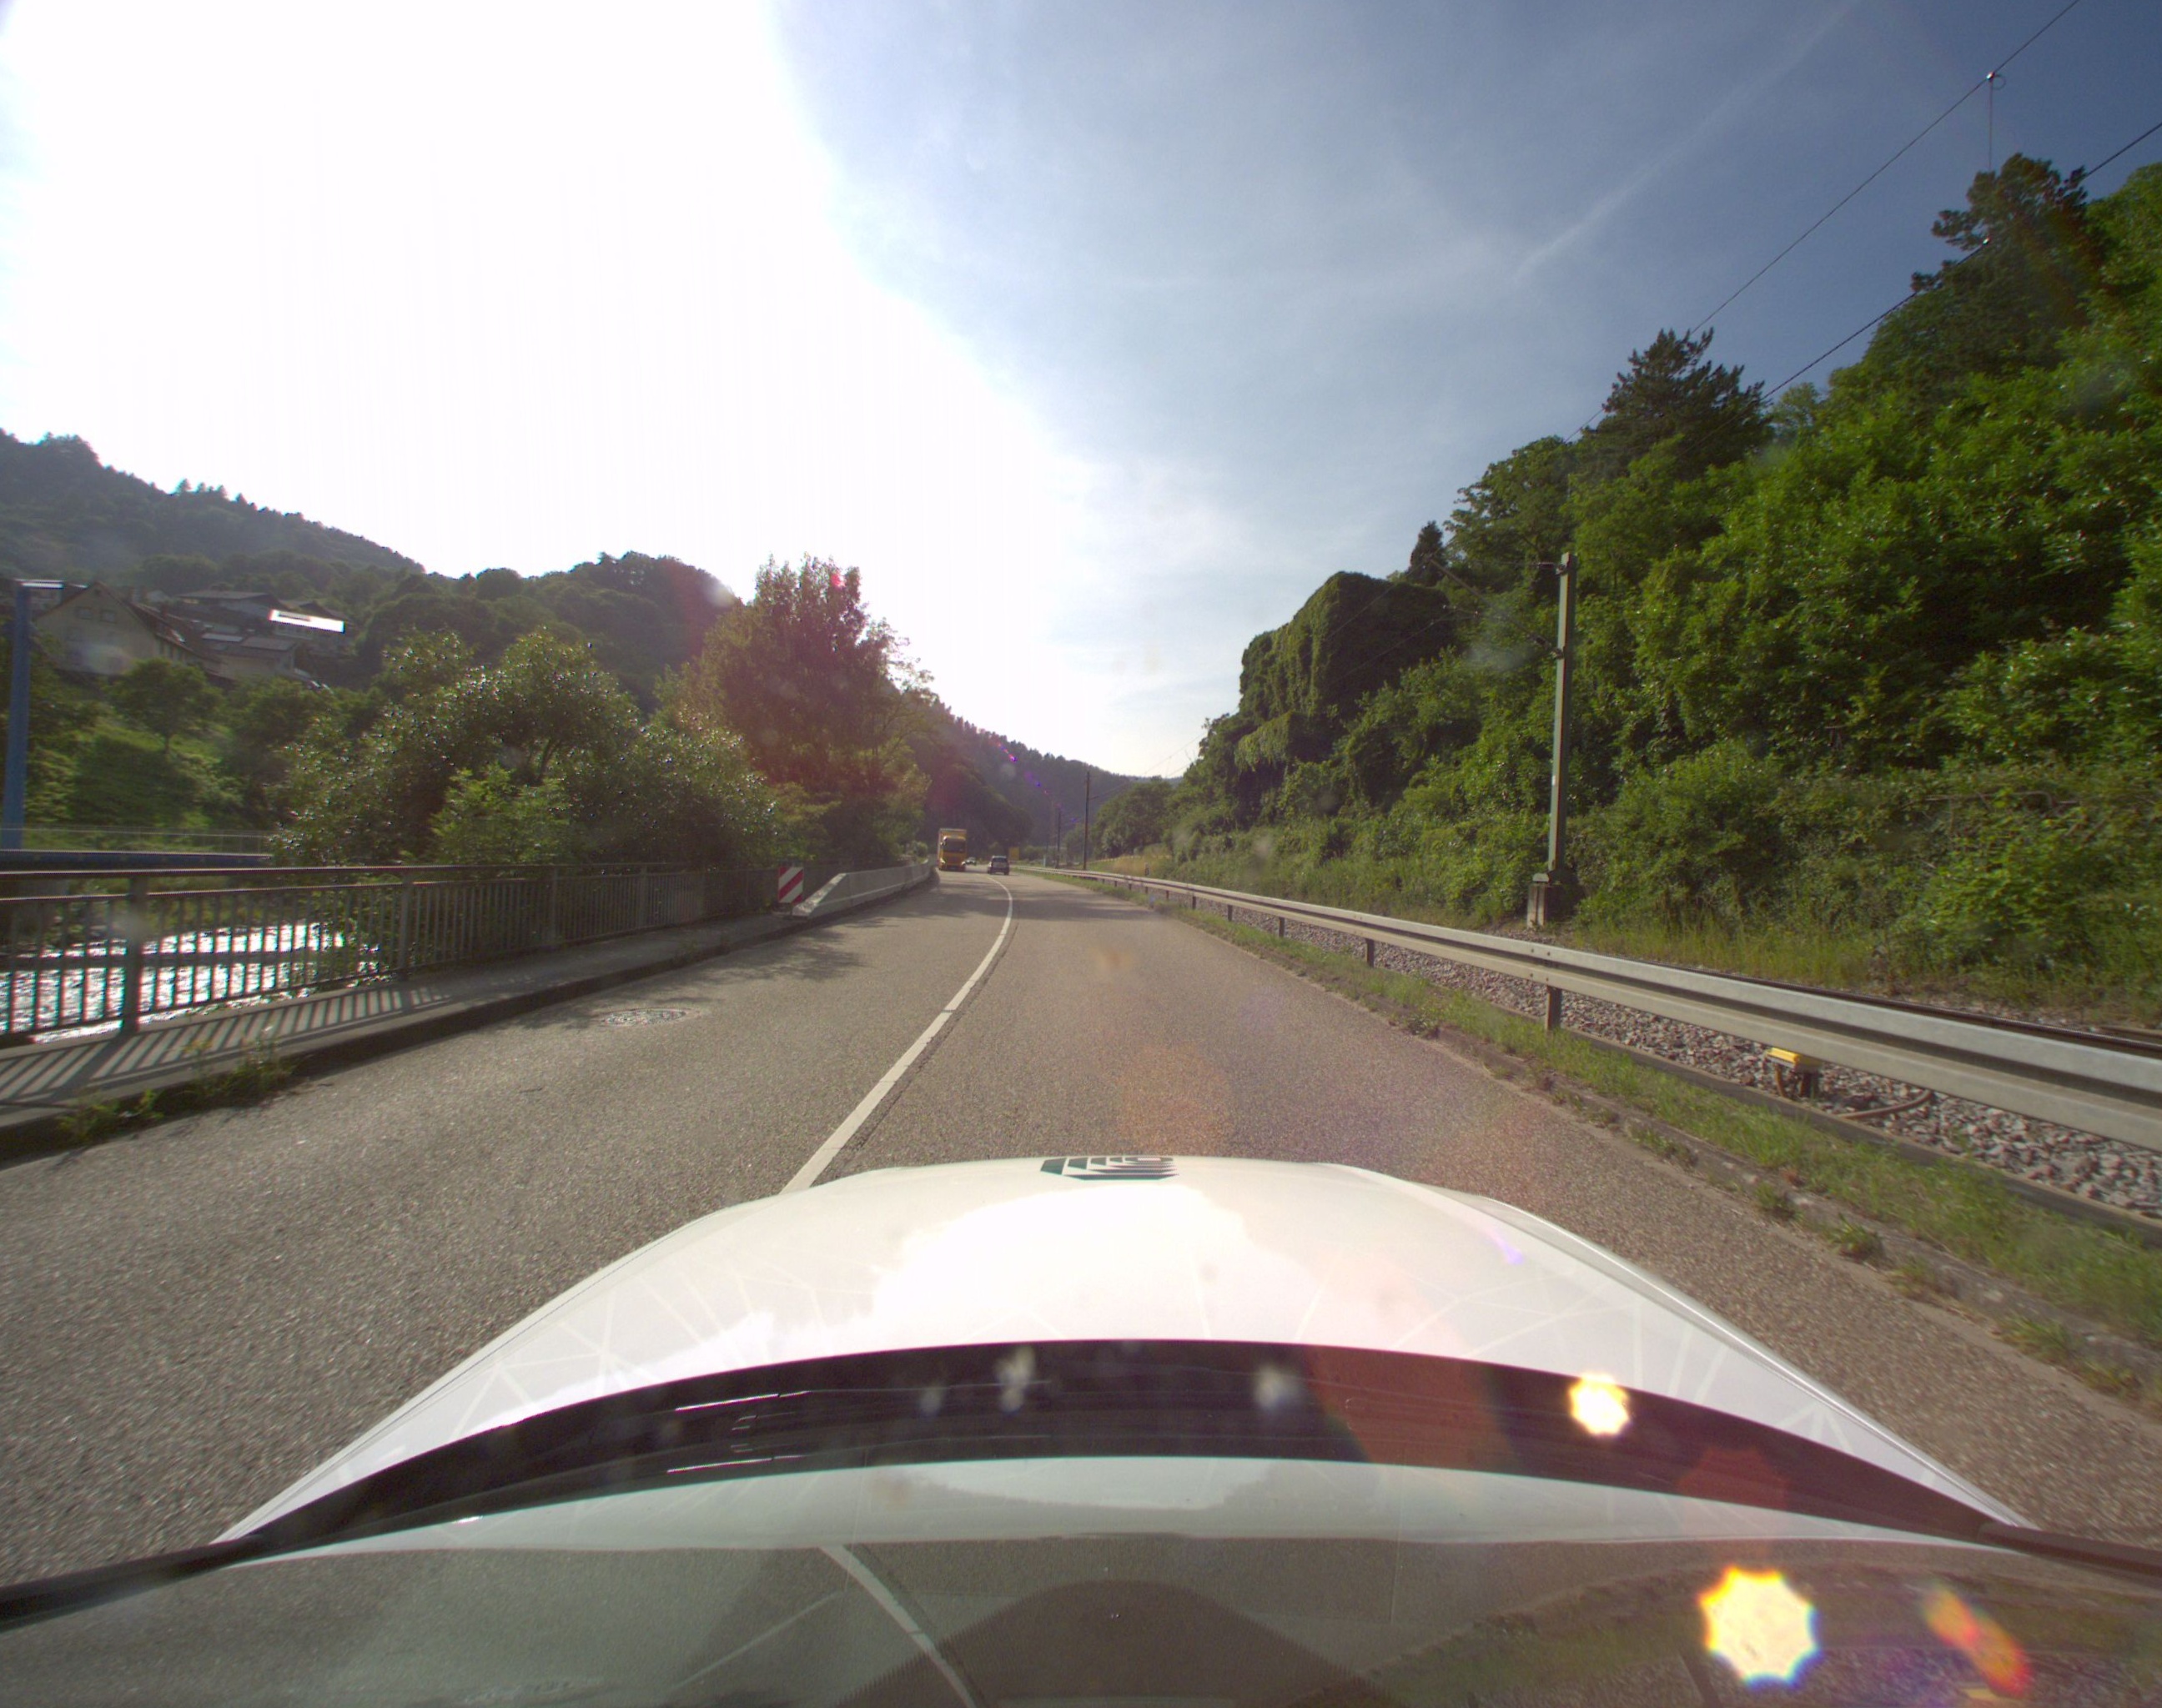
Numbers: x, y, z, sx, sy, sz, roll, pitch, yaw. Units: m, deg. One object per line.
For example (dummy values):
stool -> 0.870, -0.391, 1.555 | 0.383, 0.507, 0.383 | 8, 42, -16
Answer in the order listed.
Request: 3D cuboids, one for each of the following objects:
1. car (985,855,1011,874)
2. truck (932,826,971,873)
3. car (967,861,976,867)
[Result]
car -> -7.512, 0.928, 73.577 | 1.874, 1.656, 3.982 | 0, -1, -13
truck -> -13.347, -0.316, 83.304 | 3.371, 4.383, 12.658 | -1, -1, -11
car -> -23.834, 2.172, 177.696 | 1.468, 1.084, 3.271 | 3, -1, -2
